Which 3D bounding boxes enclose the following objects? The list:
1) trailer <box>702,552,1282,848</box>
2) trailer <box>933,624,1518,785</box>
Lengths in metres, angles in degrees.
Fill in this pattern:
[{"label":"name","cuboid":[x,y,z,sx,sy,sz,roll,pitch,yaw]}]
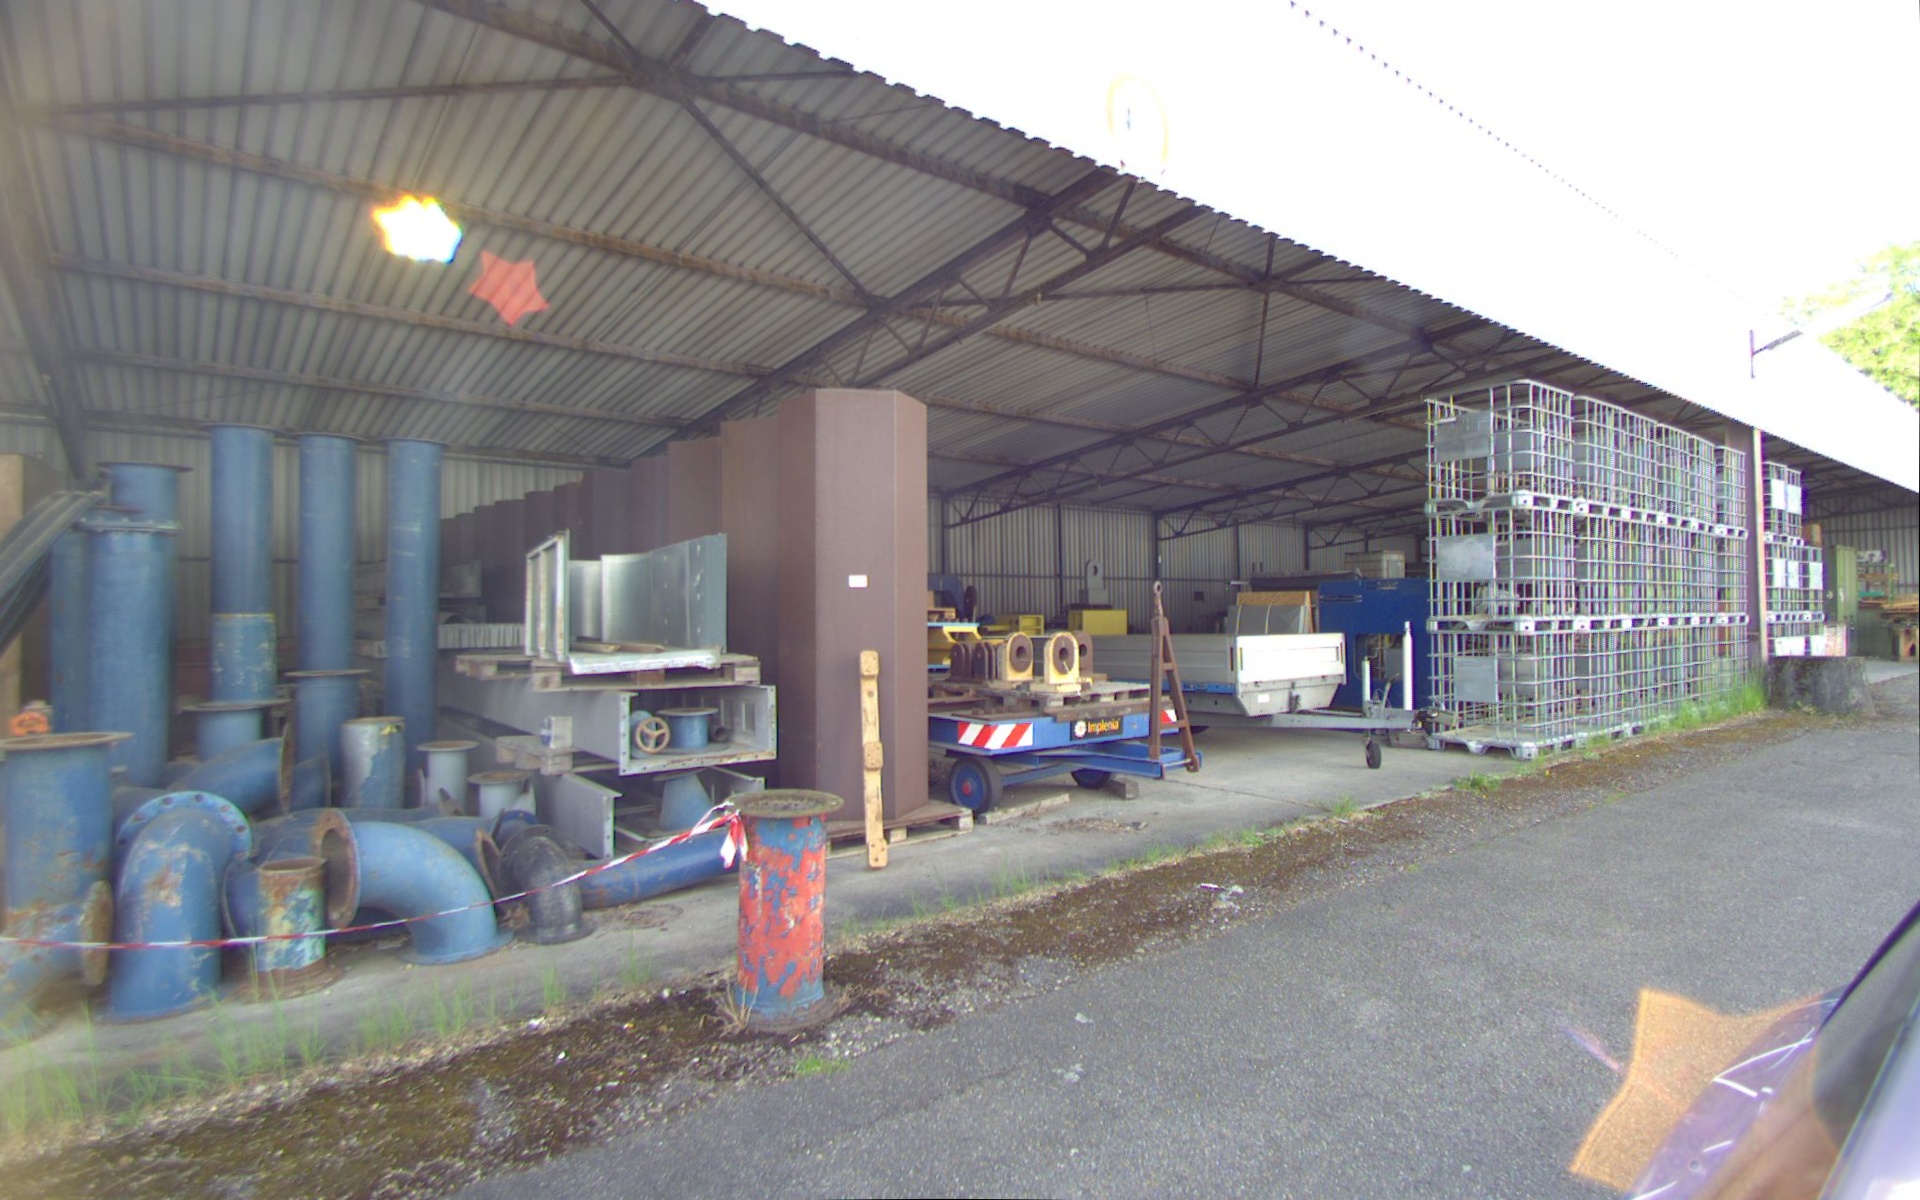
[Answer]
[{"label":"trailer","cuboid":[-0.101,0.579,8.193,1.993,1.649,4.877,0,-1,-39]},{"label":"trailer","cuboid":[2.275,0.846,10.484,1.993,1.134,5.834,0,-1,-39]}]
